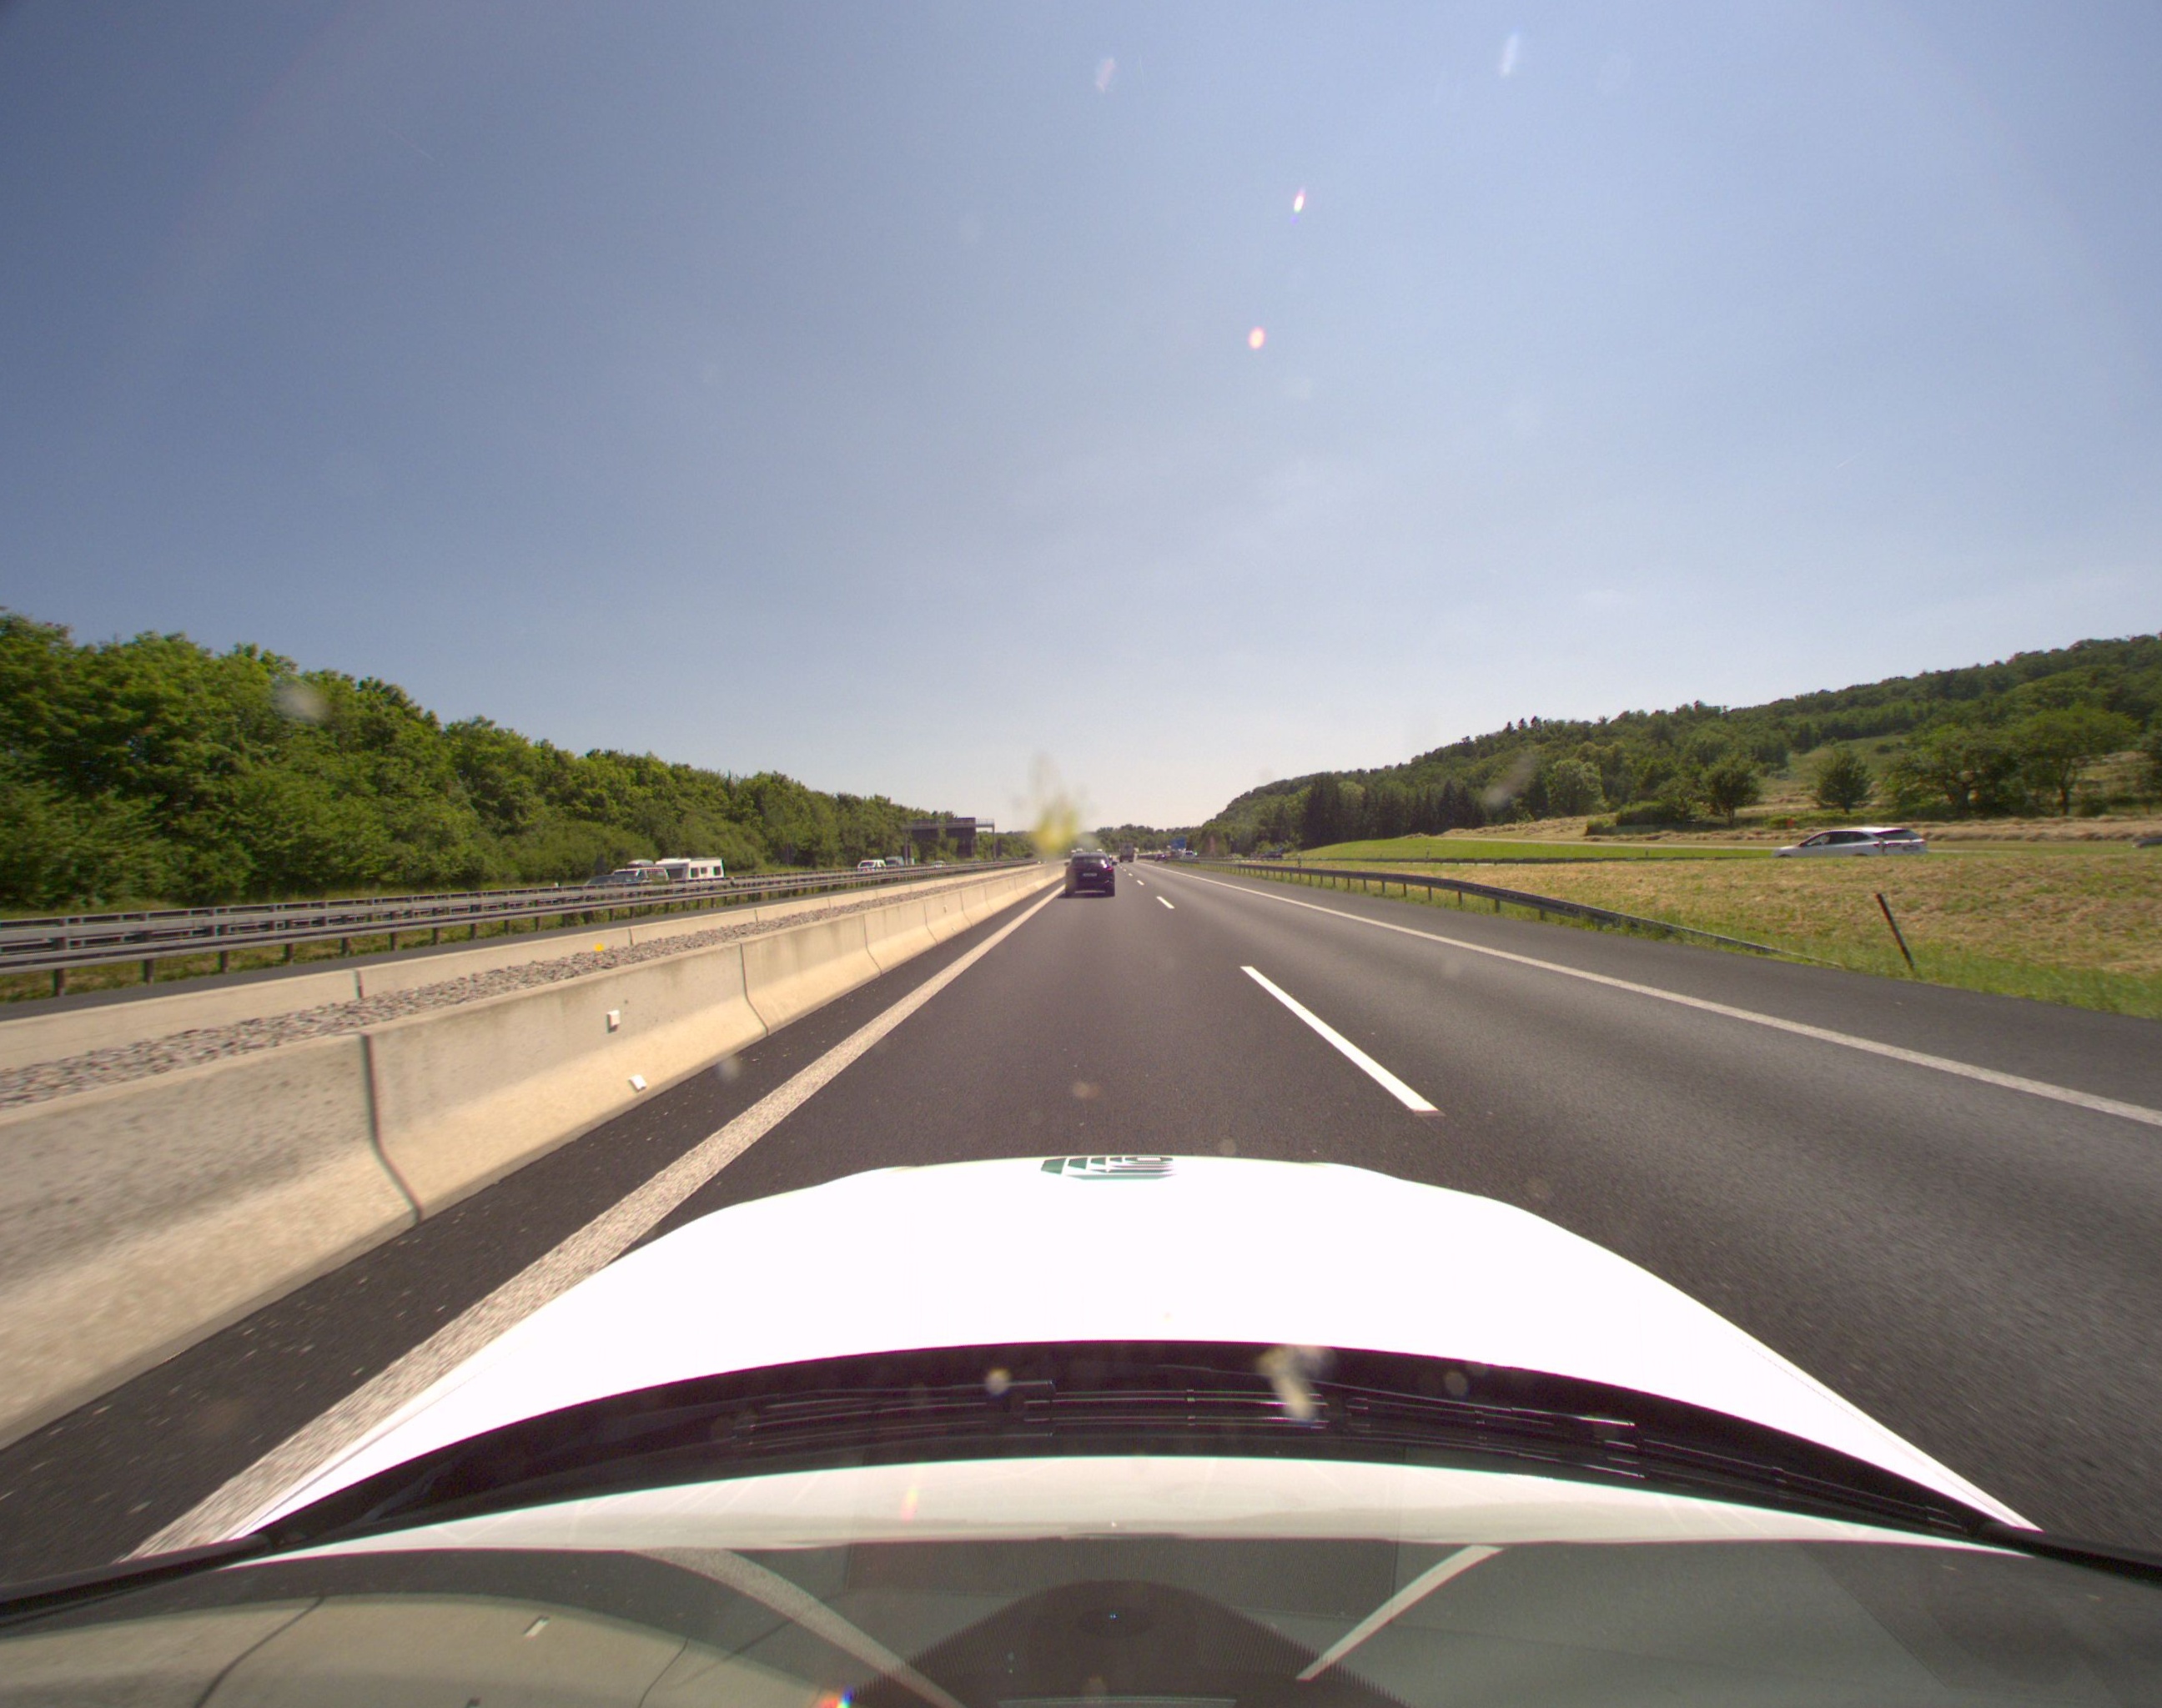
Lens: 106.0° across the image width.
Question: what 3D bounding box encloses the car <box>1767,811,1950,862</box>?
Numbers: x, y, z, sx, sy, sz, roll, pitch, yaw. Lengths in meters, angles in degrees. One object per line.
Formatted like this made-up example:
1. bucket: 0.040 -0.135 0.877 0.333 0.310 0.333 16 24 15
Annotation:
1. car: 27.428 -0.555 28.958 1.992 1.662 4.456 0 -1 -7

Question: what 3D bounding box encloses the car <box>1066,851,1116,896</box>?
1. car: 0.338 0.697 30.728 1.774 1.577 3.998 0 -1 -1

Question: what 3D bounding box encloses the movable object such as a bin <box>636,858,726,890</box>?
1. movable object such as a bin: -26.309 1.276 53.977 2.498 2.014 6.780 0 -1 1

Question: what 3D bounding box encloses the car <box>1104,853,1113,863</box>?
1. car: 6.542 0.948 196.878 2.130 2.216 5.089 0 -1 2

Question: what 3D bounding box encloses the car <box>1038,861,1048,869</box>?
1. car: -7.472 2.248 160.599 1.829 1.534 4.156 0 -1 -1

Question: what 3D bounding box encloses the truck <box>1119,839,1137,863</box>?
1. truck: 9.218 -0.510 160.365 3.021 4.418 12.021 0 -1 1

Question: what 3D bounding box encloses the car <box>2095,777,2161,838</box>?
1. car: 31.521 -1.350 21.675 1.988 1.662 5.623 0 -1 -1

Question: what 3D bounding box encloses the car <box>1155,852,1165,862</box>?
1. car: 15.793 0.567 162.875 1.983 2.014 4.008 0 -1 7

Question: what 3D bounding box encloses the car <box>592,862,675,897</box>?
1. car: -26.353 1.444 48.182 1.985 1.806 4.820 -3 0 3

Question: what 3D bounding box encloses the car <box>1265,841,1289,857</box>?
1. car: 26.255 -0.676 109.229 1.990 2.013 3.993 -3 0 -5

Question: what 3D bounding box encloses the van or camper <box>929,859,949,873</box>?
1. van or camper: -20.408 1.745 116.999 1.986 2.014 4.001 0 -1 2

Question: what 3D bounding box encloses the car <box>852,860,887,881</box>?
1. car: -21.559 1.675 83.268 1.986 2.014 5.351 0 -1 2

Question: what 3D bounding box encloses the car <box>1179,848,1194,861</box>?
1. car: 17.351 0.124 133.570 1.986 2.013 4.001 -2 0 1
